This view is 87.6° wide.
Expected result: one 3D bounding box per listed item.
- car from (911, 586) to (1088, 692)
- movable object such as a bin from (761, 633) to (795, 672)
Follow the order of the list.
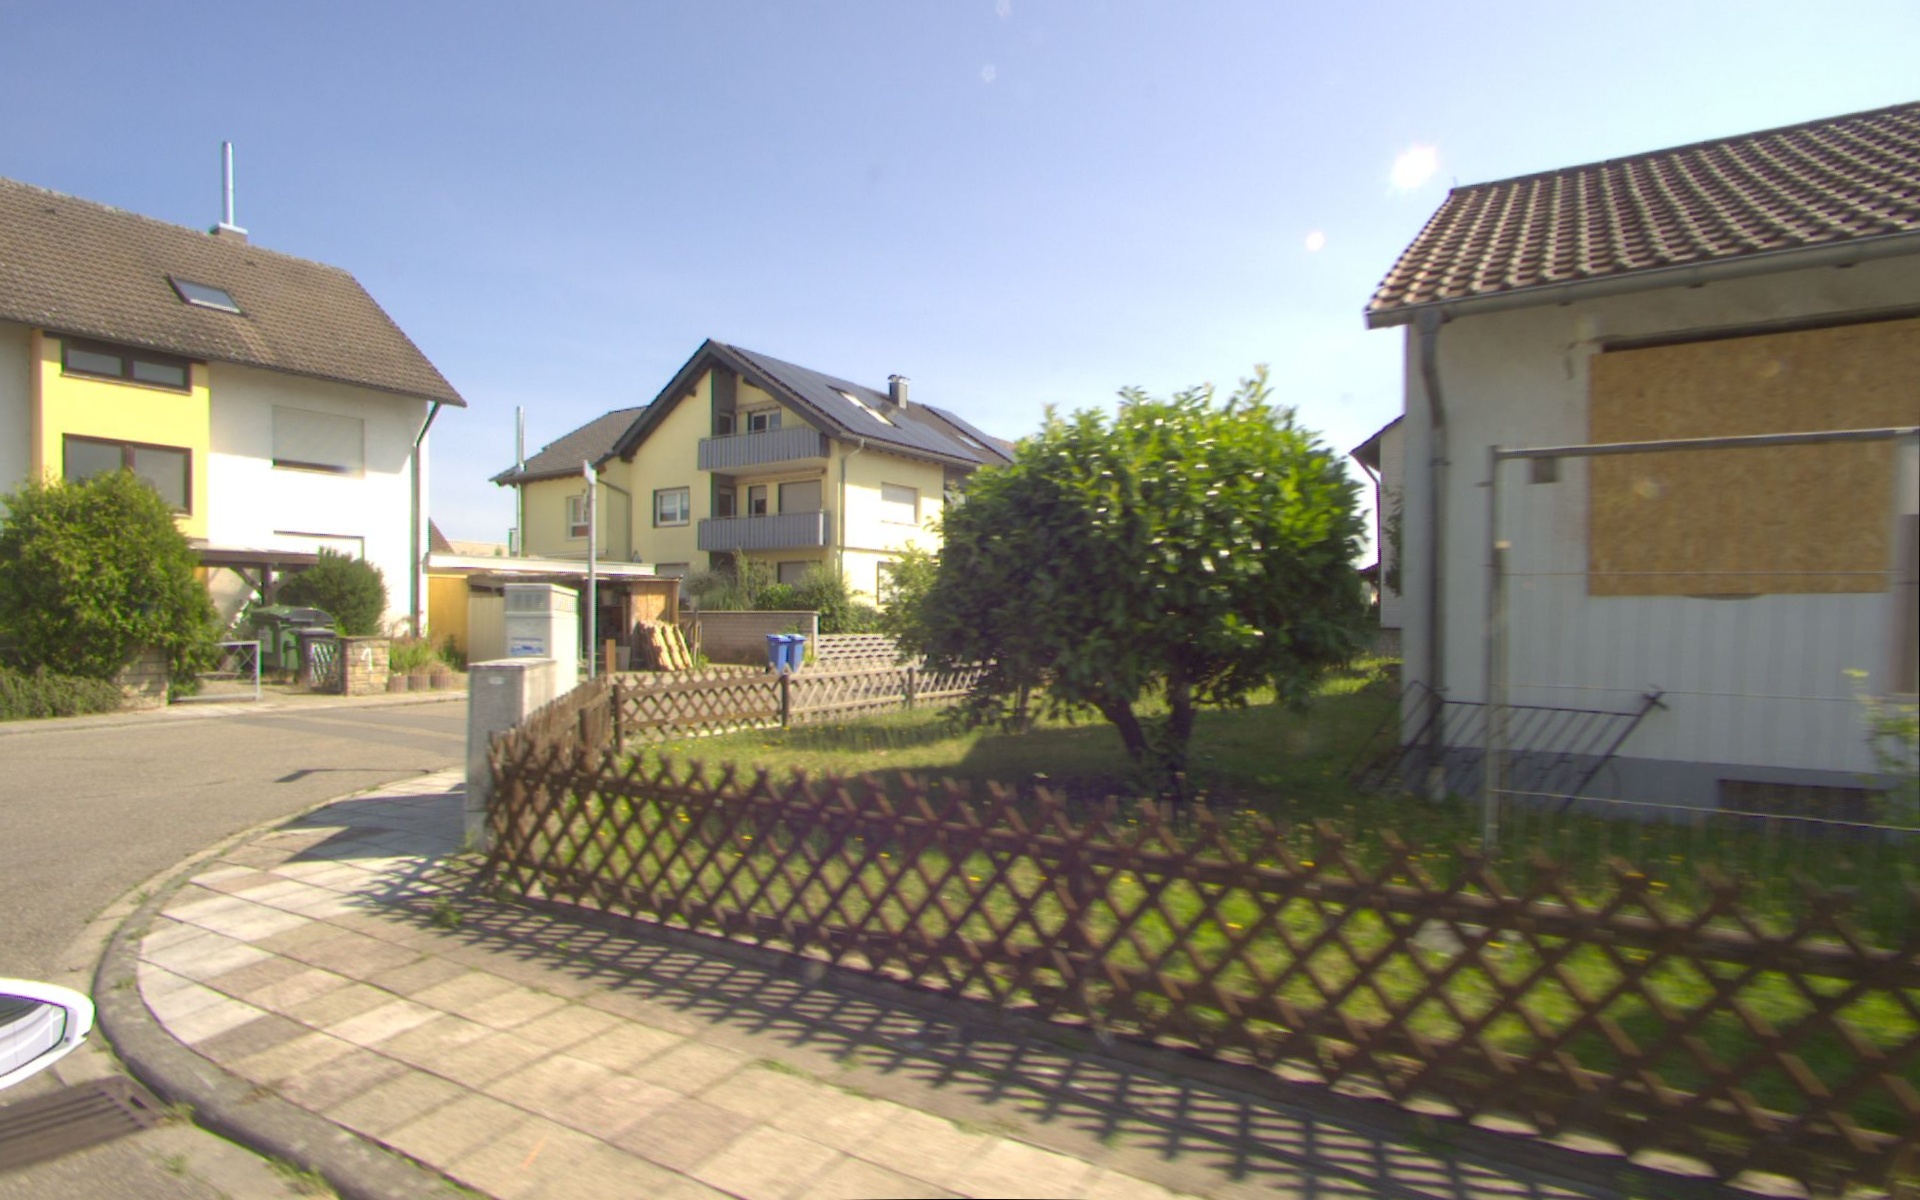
[{"bbox_3d":[0.928,0.757,20.722,1.845,1.963,4.182,0,-1,33],"label":"car"},{"bbox_3d":[-4.466,1.283,24.552,0.576,0.928,0.595,0,0,32],"label":"movable object such as a bin"}]
